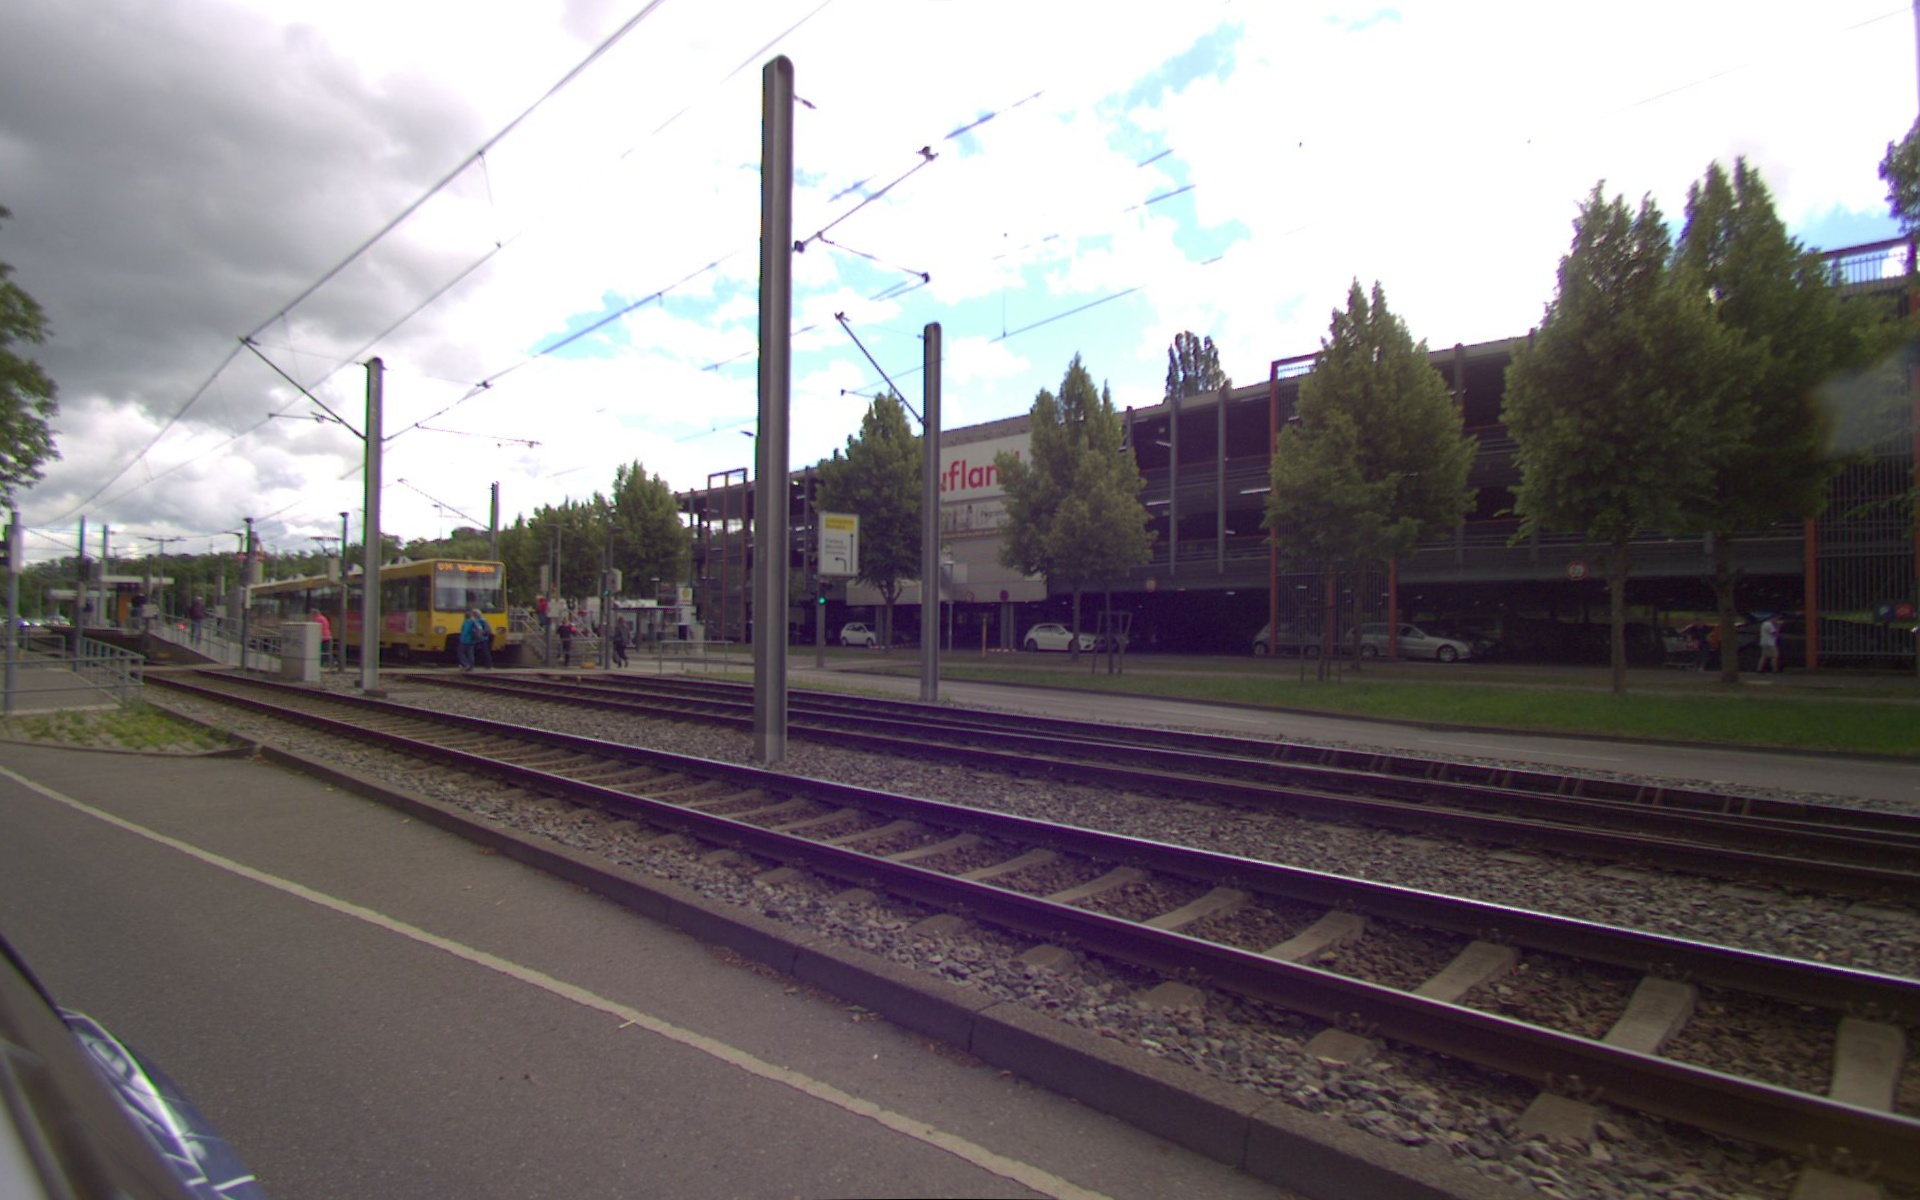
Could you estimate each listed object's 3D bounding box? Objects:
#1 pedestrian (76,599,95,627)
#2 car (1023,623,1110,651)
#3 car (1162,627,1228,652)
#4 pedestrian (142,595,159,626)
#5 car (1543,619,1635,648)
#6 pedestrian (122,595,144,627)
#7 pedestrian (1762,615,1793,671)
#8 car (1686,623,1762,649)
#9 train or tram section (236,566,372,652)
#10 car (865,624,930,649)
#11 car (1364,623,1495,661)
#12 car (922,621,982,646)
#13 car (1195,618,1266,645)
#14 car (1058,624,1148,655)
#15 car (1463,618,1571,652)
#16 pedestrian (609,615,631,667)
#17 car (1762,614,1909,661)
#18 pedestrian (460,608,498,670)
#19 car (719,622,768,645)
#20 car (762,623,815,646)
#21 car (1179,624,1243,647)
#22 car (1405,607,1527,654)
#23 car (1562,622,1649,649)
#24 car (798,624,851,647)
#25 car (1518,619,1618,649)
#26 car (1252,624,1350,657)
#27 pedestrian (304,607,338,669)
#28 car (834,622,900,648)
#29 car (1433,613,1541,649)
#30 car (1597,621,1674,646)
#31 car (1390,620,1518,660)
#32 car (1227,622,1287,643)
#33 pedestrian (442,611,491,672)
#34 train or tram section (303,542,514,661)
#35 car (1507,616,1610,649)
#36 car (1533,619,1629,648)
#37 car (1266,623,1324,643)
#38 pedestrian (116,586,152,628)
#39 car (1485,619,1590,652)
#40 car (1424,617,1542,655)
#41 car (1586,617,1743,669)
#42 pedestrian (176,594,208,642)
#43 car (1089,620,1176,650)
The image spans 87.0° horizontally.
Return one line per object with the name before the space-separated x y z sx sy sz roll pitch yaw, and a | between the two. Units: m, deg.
pedestrian | -55.481 0.825 64.213 0.937 1.757 0.740 -1 -4 45
car | 5.110 1.770 49.002 4.073 1.334 1.617 -1 -2 44
car | 12.724 2.131 54.911 1.422 1.234 3.219 4 -4 -44
pedestrian | -37.685 0.511 47.109 0.411 1.416 0.473 -1 -4 43
car | 34.181 1.797 55.053 1.793 1.453 4.002 4 -4 -45
pedestrian | -39.143 0.530 47.913 0.513 1.494 0.582 2 -3 -7
pedestrian | 22.649 1.190 28.039 0.416 1.518 0.614 1 -2 -44
car | 54.189 2.564 71.837 1.969 1.741 4.005 4 -4 -42
train or tram section | -35.390 0.596 53.984 2.724 3.912 18.647 1 -2 -43
car | -3.827 2.235 61.710 1.757 1.414 4.003 4 -4 -44
car | 17.099 1.499 36.981 4.073 1.315 1.617 -1 -2 44
car | -0.554 2.152 65.656 1.734 1.526 3.871 1 -2 -45
car | 15.928 1.846 59.693 1.691 1.513 3.657 4 -4 -43
car | 7.155 1.999 50.939 4.199 1.443 1.820 -1 -4 45
car | 25.433 1.576 46.265 1.793 1.453 4.002 4 -4 -45
pedestrian | -11.102 1.356 33.084 0.509 1.675 0.467 4 -3 -34
car | 29.865 1.256 34.583 3.677 1.487 1.654 -1 -2 45
pedestrian | -13.639 1.098 28.707 0.717 1.711 0.658 2 -3 -6
car | -15.783 2.427 73.783 1.704 1.526 3.798 4 -4 -45
car | -11.873 2.366 69.983 1.704 1.526 3.798 4 -4 -45
car | 14.220 1.983 57.372 1.422 1.234 3.219 4 -4 -44
car | 20.439 1.230 40.994 4.055 1.828 1.820 -1 -2 45
car | 37.472 2.074 58.807 1.793 1.453 4.002 4 -4 -45
car | -9.639 2.536 71.759 1.704 1.526 3.798 4 -4 -45
car | 30.736 1.693 51.239 1.793 1.453 4.002 1 -2 -45
car | 13.643 1.600 40.606 1.421 1.233 3.477 1 -2 -44
pedestrian | -17.630 1.057 27.925 0.604 1.666 0.798 3 -3 -24
car | -5.533 2.072 60.160 1.757 1.409 4.003 4 -4 -44
car | 23.365 1.381 44.965 3.891 1.528 1.820 -1 -2 45
car | 41.265 2.039 61.883 3.677 1.449 1.654 -1 -2 45
car | 18.949 1.517 38.894 4.055 1.443 1.820 -1 -4 45
car | 18.741 2.051 63.920 1.515 1.280 3.303 1 -2 -43
pedestrian | -13.500 1.134 27.705 0.927 1.623 0.715 2 -3 -5
train or tram section | -22.636 0.238 40.427 2.724 3.858 18.648 1 -2 -43
car | 29.309 1.583 49.632 1.793 1.587 4.002 1 -2 -45
car | 32.631 1.748 53.267 1.793 1.453 4.002 1 -2 -45
car | 21.312 2.091 64.505 1.422 1.234 3.219 4 -4 -44
pedestrian | -35.031 0.308 42.919 0.735 1.691 0.876 2 -3 -2
car | 27.260 1.644 47.861 1.793 1.453 4.002 4 -4 -45
car | 22.031 1.509 42.720 4.055 1.528 1.820 -1 -2 45
car | 21.334 1.277 30.712 3.677 1.487 1.654 -1 -2 45
pedestrian | -27.929 0.657 36.800 0.791 1.691 0.762 -1 -4 45
car | 8.935 1.822 52.572 4.199 1.443 1.820 -1 -4 45
